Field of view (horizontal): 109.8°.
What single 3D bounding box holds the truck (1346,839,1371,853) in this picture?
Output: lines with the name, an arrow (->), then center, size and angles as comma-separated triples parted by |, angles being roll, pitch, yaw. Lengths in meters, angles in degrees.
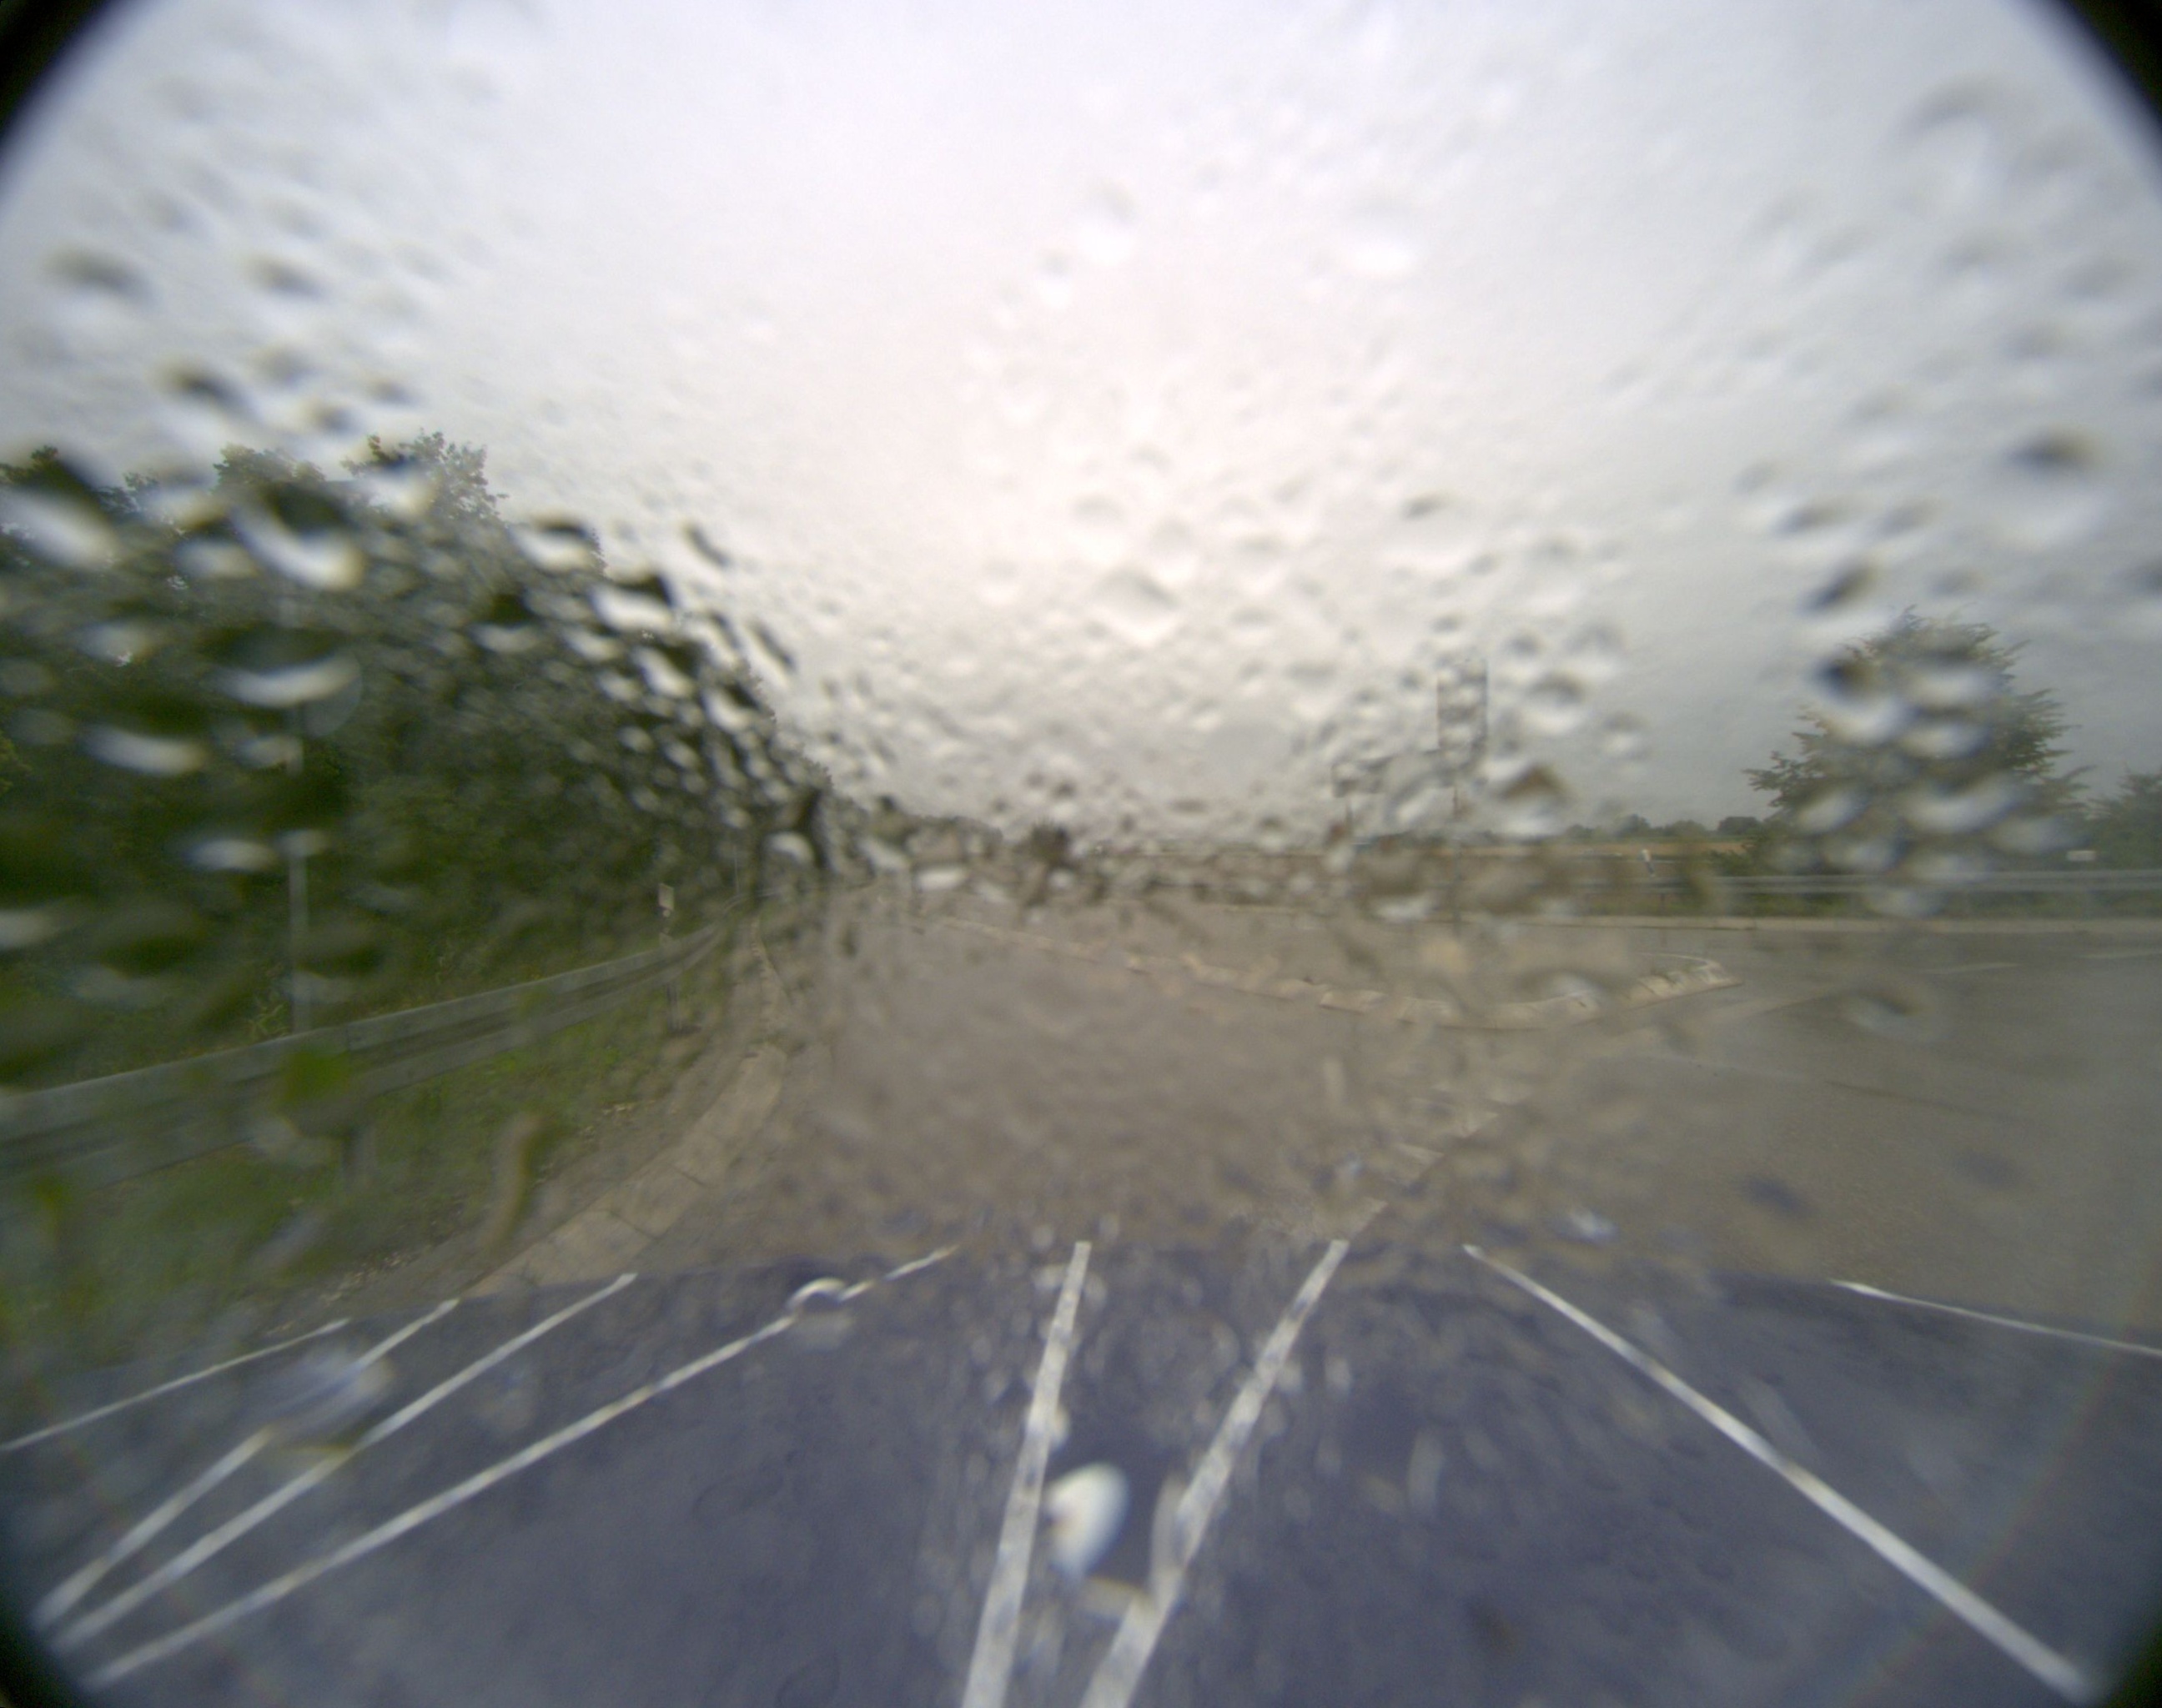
truck -> 80.387, -2.270, 219.991 | 6.258, 3.894, 2.955 | 1, 5, 40

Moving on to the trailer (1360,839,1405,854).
trailer -> 85.469, -2.191, 215.718 | 11.443, 3.868, 2.955 | 1, 5, 40

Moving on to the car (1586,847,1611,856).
car -> 126.475, -0.617, 185.721 | 4.798, 2.003, 2.003 | 2, 5, 42
